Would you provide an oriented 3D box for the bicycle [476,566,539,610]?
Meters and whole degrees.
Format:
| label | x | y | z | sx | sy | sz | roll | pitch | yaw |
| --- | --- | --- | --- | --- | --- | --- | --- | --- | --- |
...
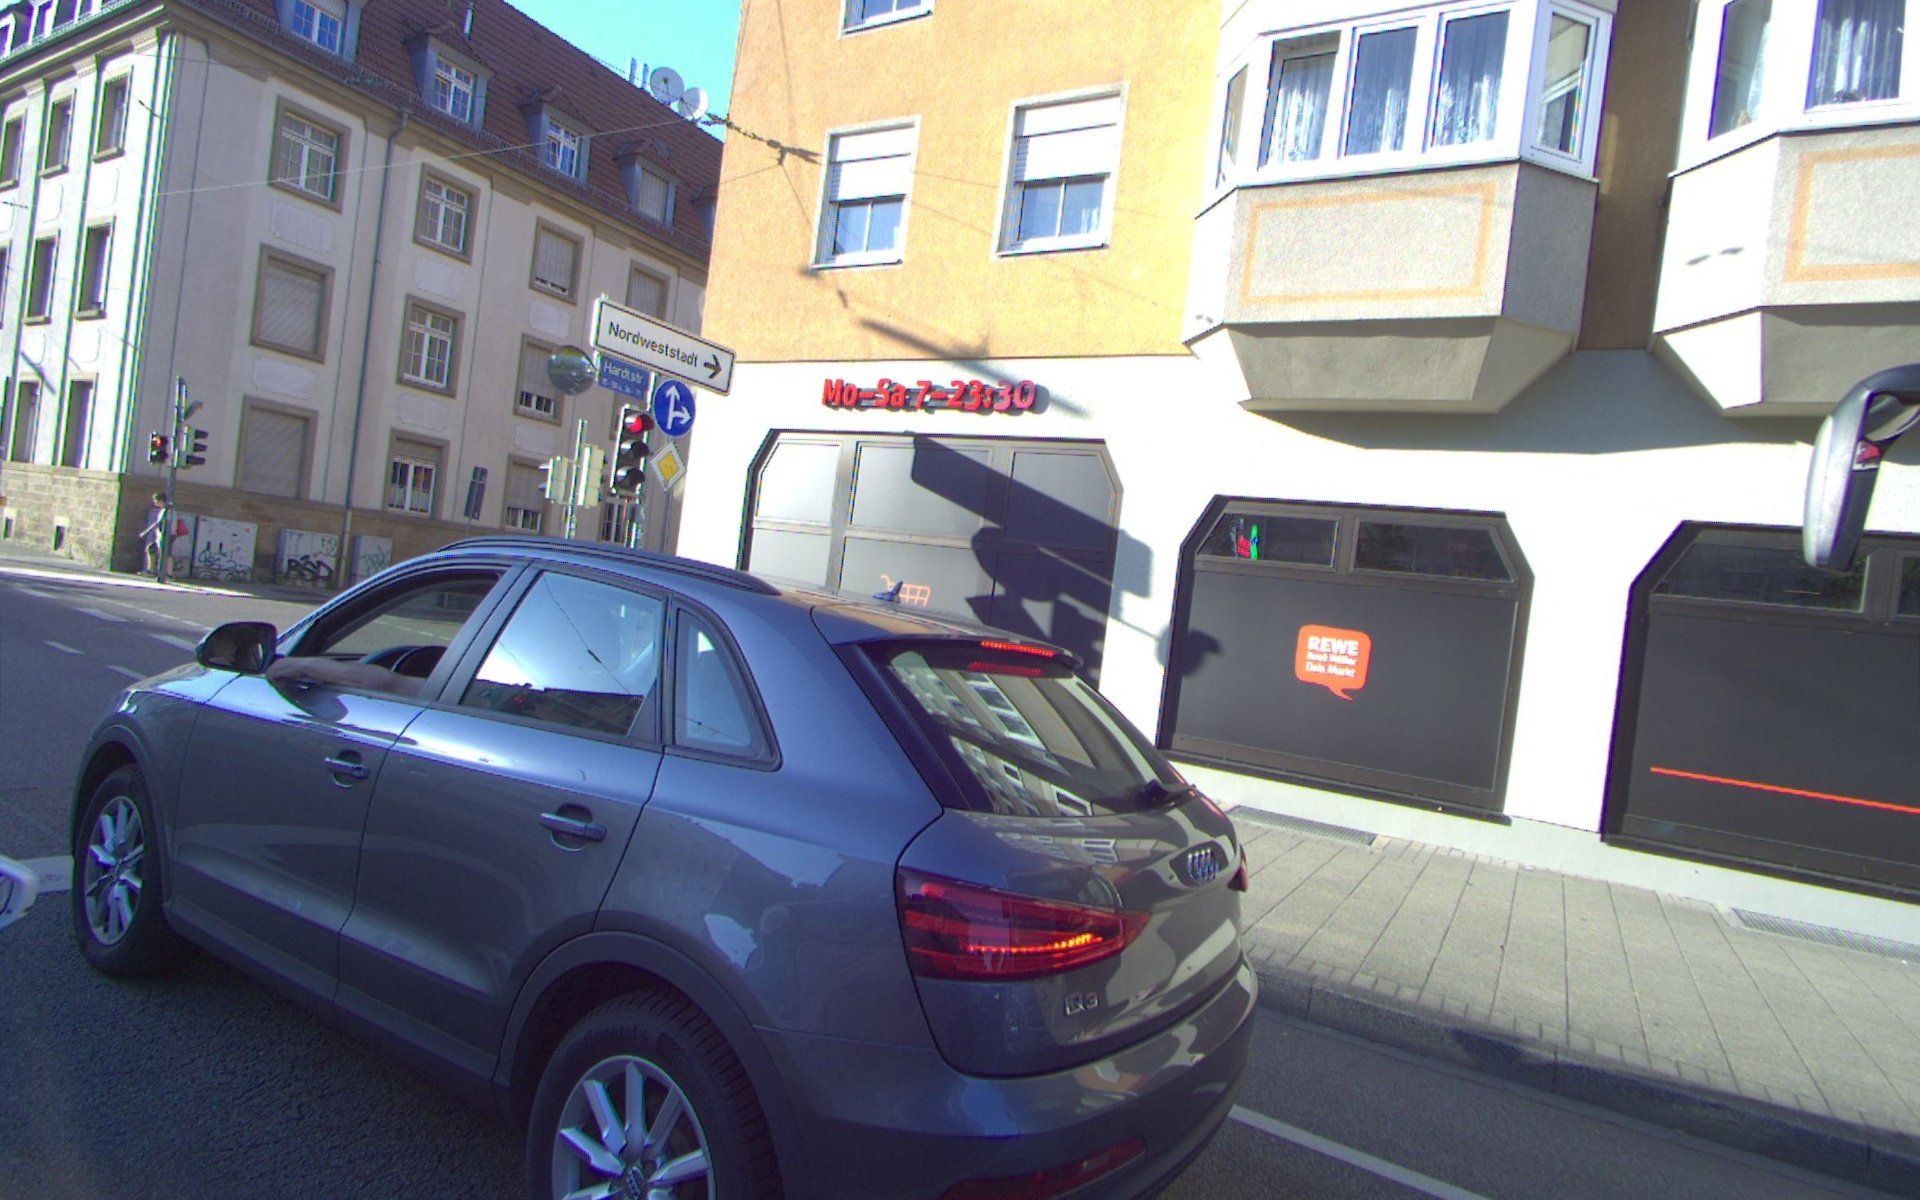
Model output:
| label | x | y | z | sx | sy | sz | roll | pitch | yaw |
| --- | --- | --- | --- | --- | --- | --- | --- | --- | --- |
| bicycle | -12.524 | -0.327 | 27.865 | 1.499 | 1.029 | 0.247 | 9 | -2 | -43 |

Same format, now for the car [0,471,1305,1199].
| label | x | y | z | sx | sy | sz | roll | pitch | yaw |
| --- | --- | --- | --- | --- | --- | --- | --- | --- | --- |
| car | -1.279 | 0.609 | 3.302 | 4.155 | 1.570 | 1.701 | 7 | -2 | 32 |

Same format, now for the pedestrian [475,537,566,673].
| label | x | y | z | sx | sy | sz | roll | pitch | yaw |
| --- | --- | --- | --- | --- | --- | --- | --- | --- | --- |
| pedestrian | -6.176 | 0.073 | 14.134 | 0.812 | 1.778 | 0.630 | 6 | -1 | 32 |

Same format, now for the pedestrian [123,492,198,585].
| label | x | y | z | sx | sy | sz | roll | pitch | yaw |
| --- | --- | --- | --- | --- | --- | --- | --- | --- | --- |
| pedestrian | -16.679 | -1.278 | 20.992 | 0.810 | 1.783 | 0.837 | 6 | -1 | 31 |
